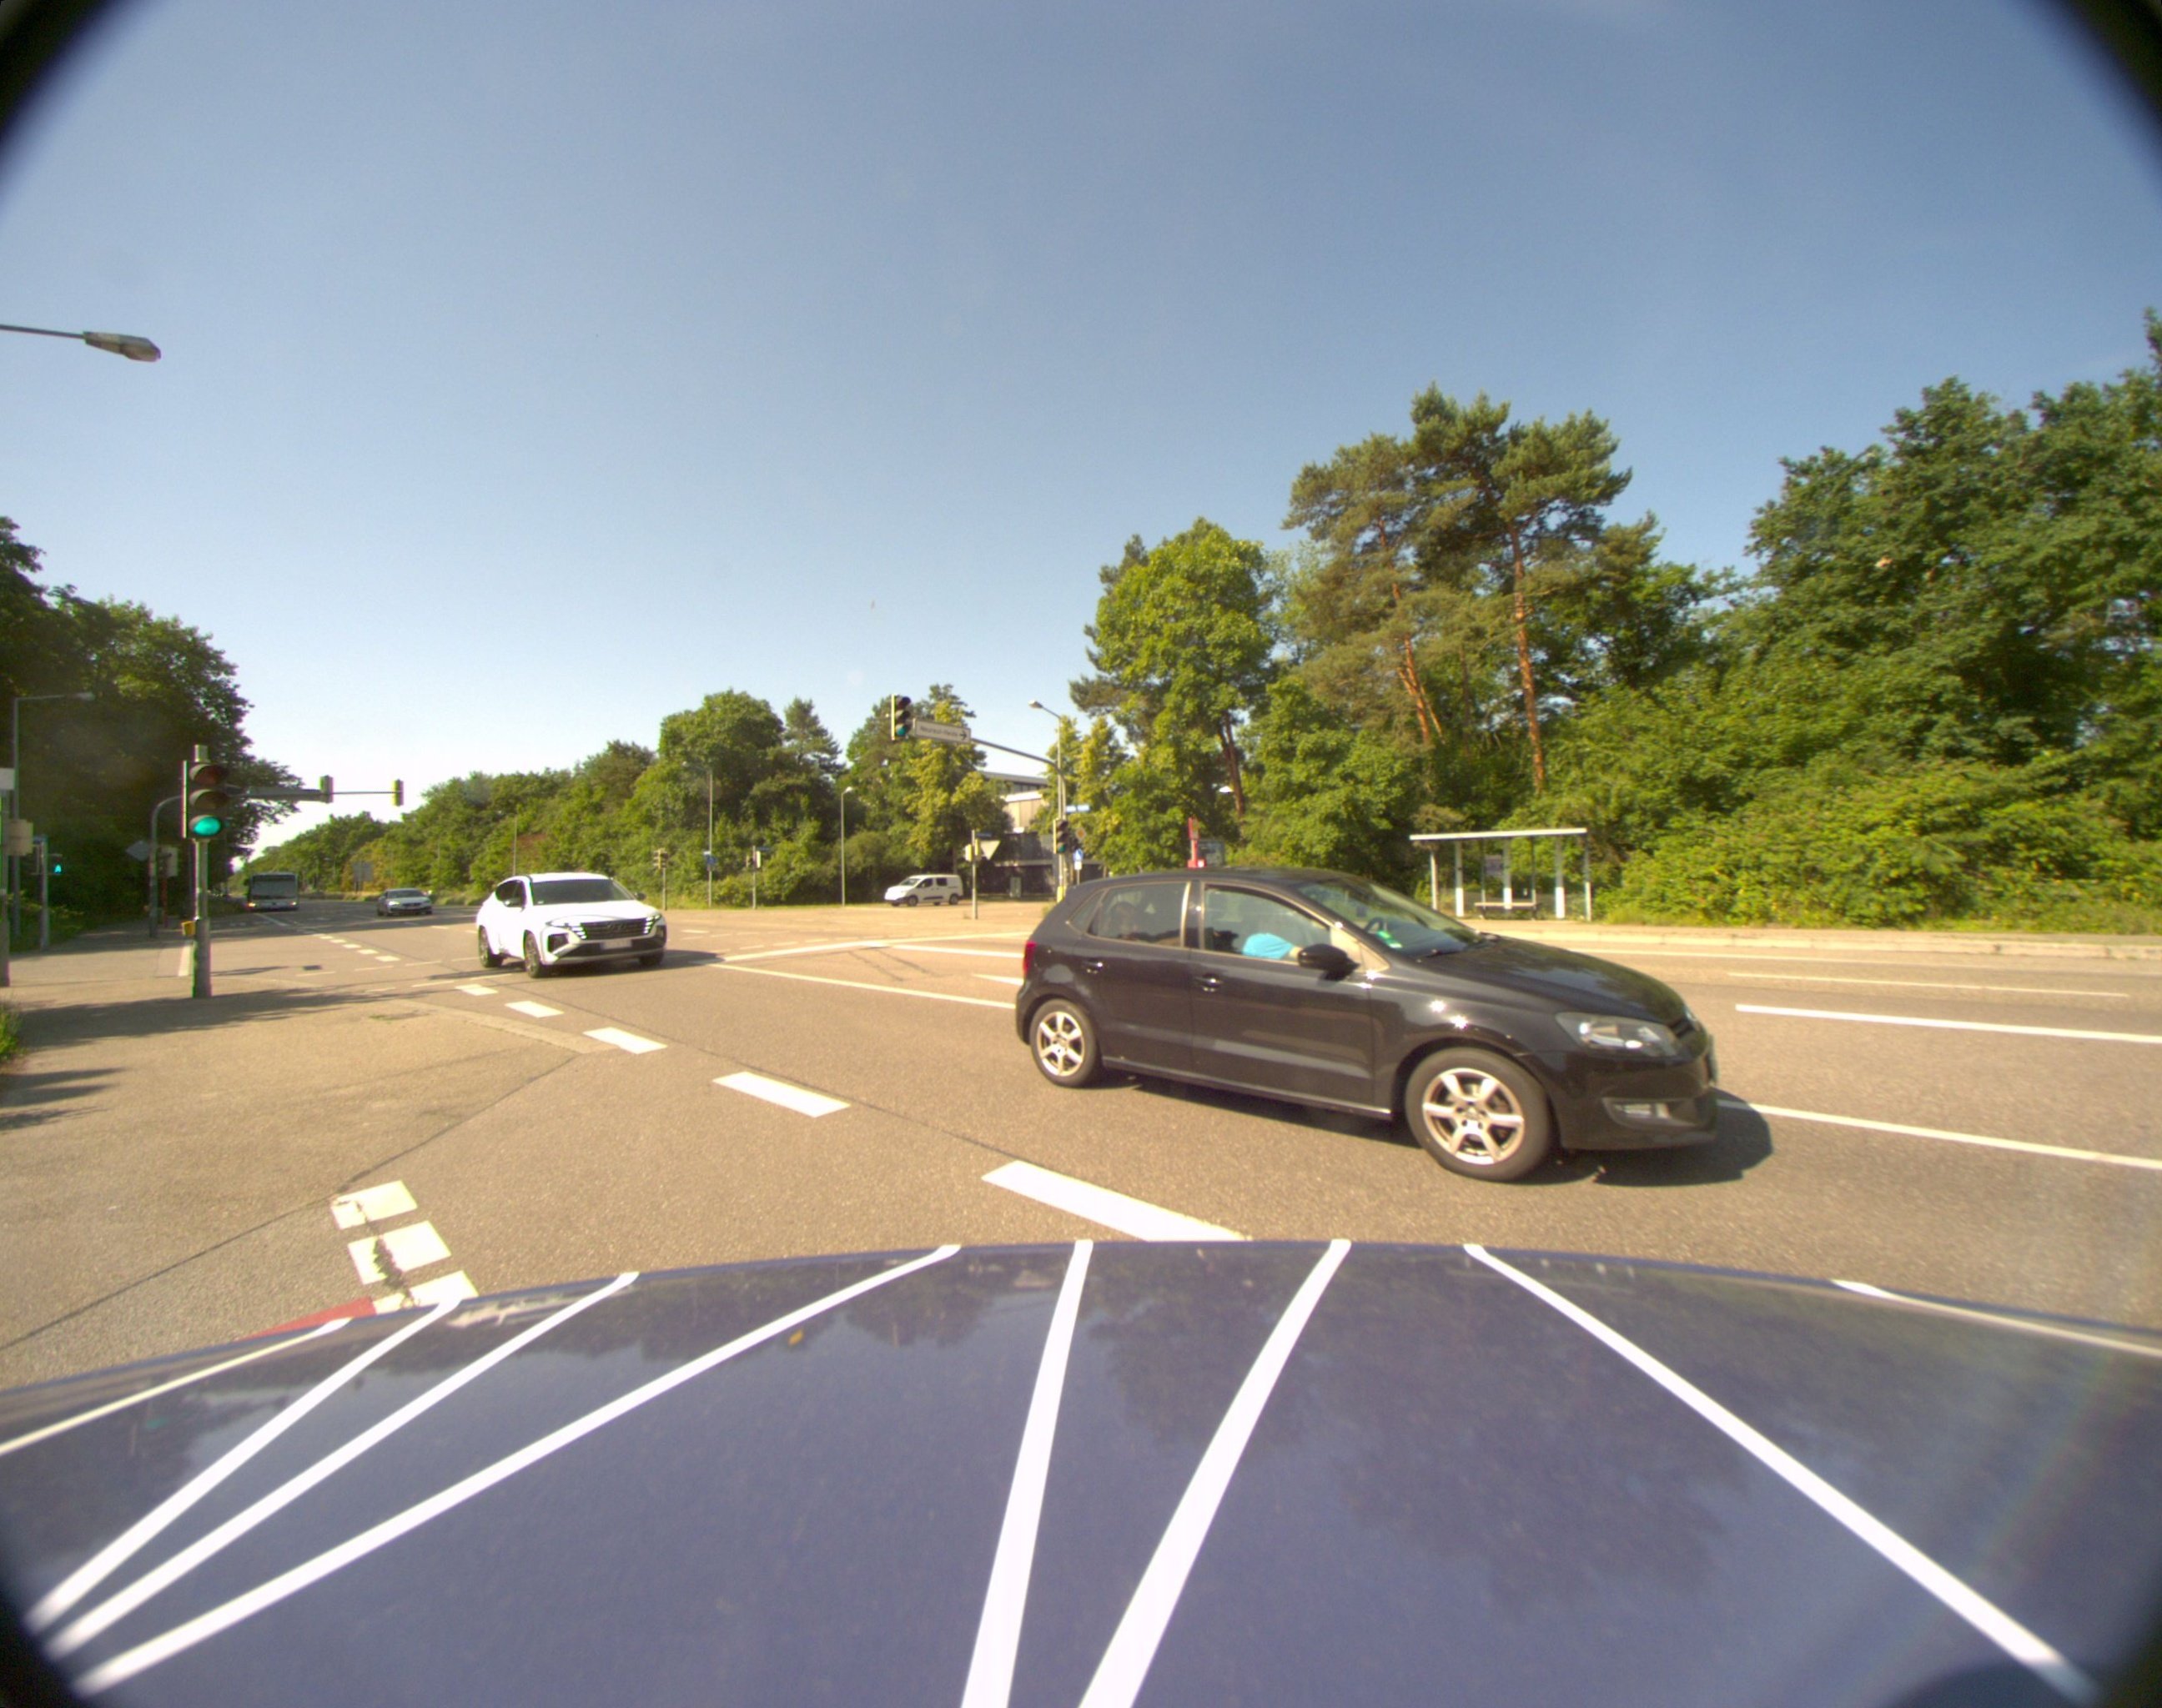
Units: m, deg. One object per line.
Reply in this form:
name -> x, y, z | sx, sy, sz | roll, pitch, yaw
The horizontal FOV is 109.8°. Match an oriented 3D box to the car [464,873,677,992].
car -> -8.868, 1.230, 13.069 | 4.295, 1.639, 1.817 | -2, 0, 39

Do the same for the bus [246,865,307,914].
bus -> -62.230, 2.693, 58.721 | 7.772, 3.437, 2.790 | -2, 1, 41

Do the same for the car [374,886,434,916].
car -> -36.056, 2.485, 40.422 | 4.411, 1.416, 1.793 | -3, 0, 41

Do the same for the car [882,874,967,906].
car -> -9.096, 2.040, 44.475 | 1.847, 1.767, 4.672 | -2, -2, 42

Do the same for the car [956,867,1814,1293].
car -> 1.353, 0.892, 4.497 | 4.044, 1.422, 1.654 | -3, 1, 35

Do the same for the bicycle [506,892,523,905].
bicycle -> -51.482, 4.030, 69.032 | 2.366, 1.156, 0.736 | -2, -1, 39
